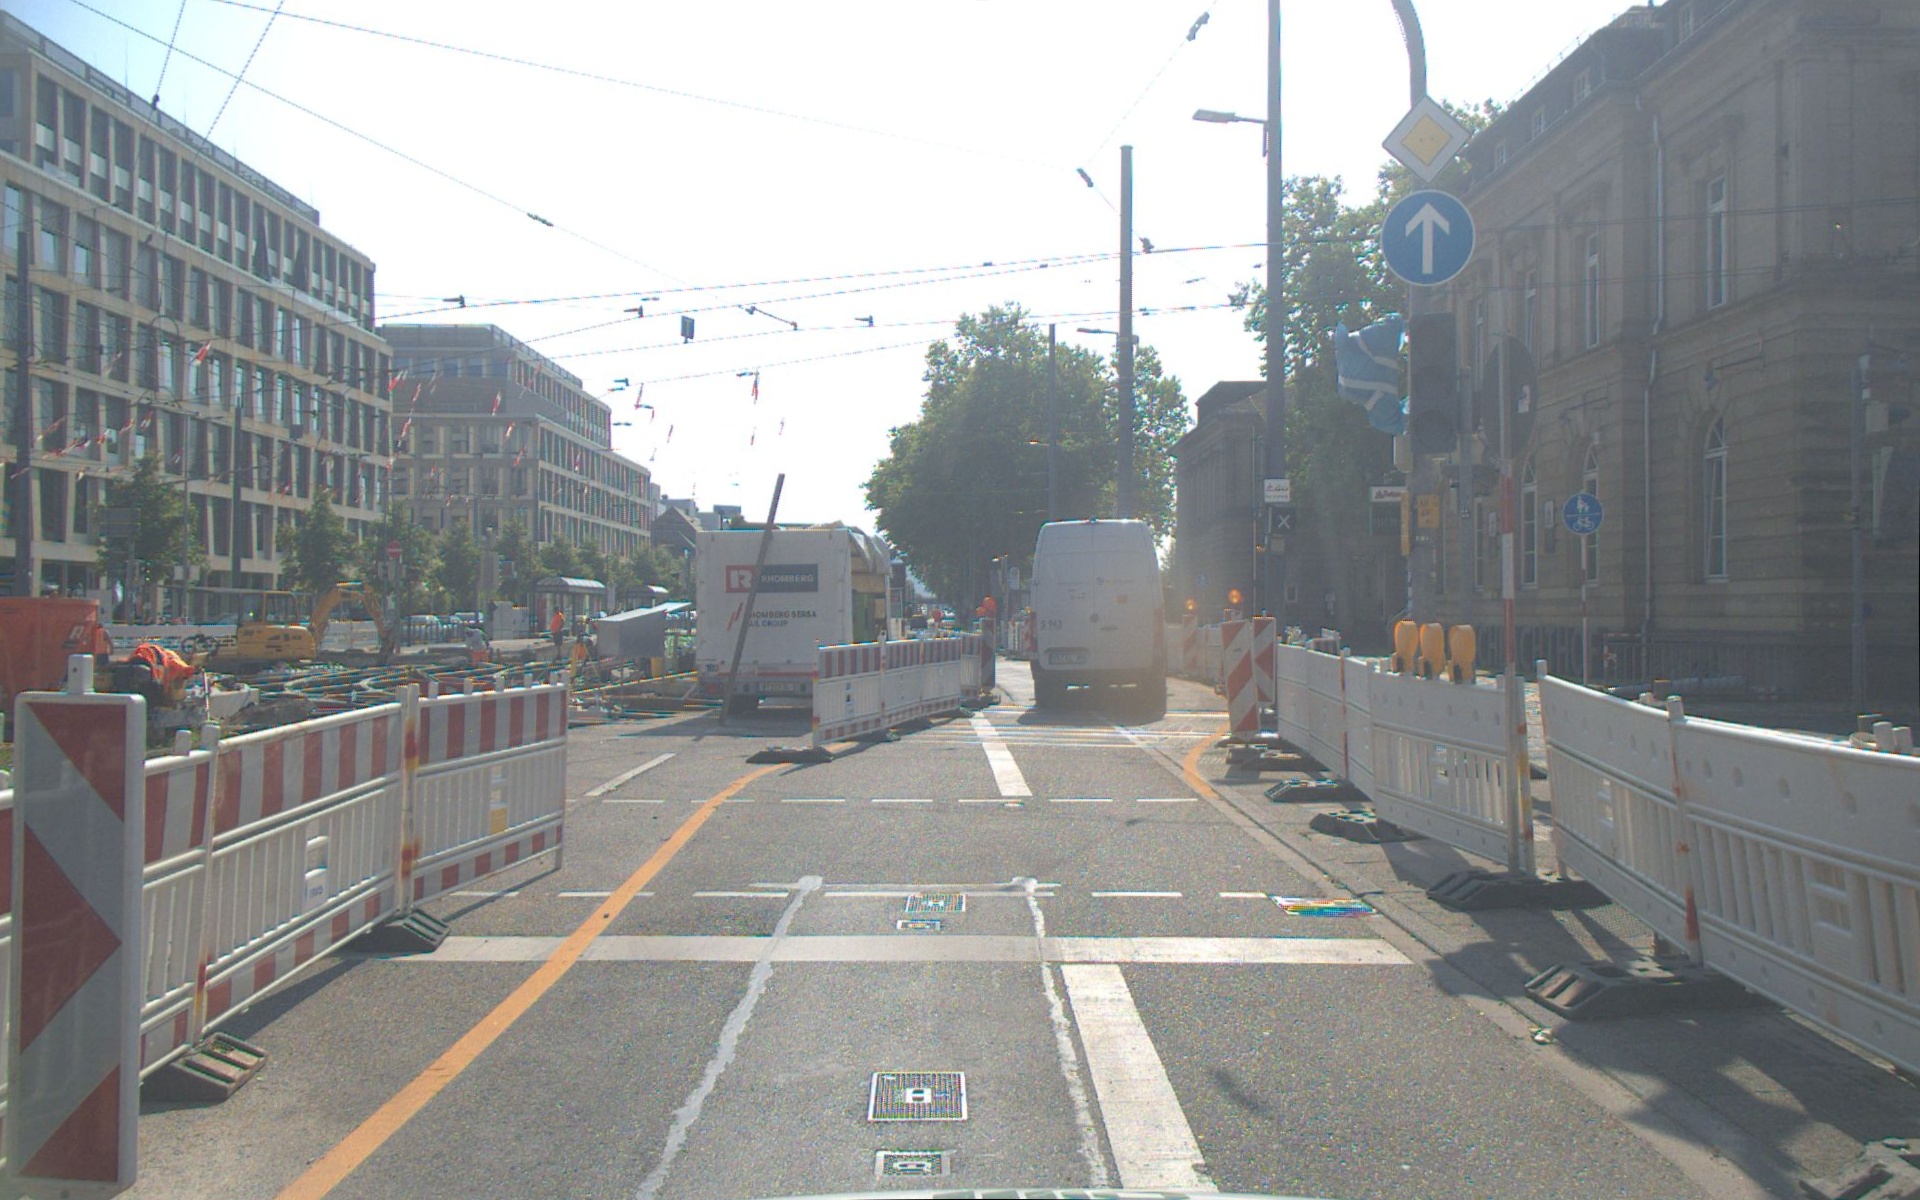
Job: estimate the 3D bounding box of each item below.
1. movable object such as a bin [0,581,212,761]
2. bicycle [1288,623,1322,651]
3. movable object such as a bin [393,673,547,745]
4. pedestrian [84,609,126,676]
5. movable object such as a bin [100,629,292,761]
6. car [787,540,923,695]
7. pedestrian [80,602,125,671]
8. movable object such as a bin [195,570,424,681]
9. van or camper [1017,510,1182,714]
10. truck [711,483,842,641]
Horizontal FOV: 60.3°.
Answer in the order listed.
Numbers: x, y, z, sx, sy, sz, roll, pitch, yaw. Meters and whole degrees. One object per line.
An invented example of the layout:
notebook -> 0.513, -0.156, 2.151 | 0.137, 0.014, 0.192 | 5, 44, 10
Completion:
movable object such as a bin -> -8.936, 0.657, 16.308 | 1.567, 1.586, 3.286 | 0, -1, 1
bicycle -> 13.756, 1.460, 65.985 | 0.484, 1.017, 1.808 | 0, 2, -19
movable object such as a bin -> -5.417, 1.186, 18.272 | 1.687, 0.726, 0.716 | -1, -1, 33
pedestrian -> -24.481, 1.220, 47.347 | 0.793, 1.897, 0.754 | 0, -1, 32
movable object such as a bin -> -7.643, 0.916, 16.682 | 0.868, 1.233, 2.212 | 0, -1, 1
car -> -1.873, 0.335, 30.057 | 2.163, 2.467, 7.194 | 0, -1, -3
pedestrian -> -23.895, 1.022, 46.099 | 0.906, 1.897, 0.808 | 0, -1, -11
movable object such as a bin -> -19.359, 0.824, 49.951 | 3.540, 3.010, 8.474 | 1, -2, -1
van or camper -> 2.268, 0.159, 25.440 | 2.070, 2.729, 5.255 | -2, 0, 9
truck -> -5.345, -0.970, 46.846 | 2.744, 3.981, 8.391 | 1, 0, -13
